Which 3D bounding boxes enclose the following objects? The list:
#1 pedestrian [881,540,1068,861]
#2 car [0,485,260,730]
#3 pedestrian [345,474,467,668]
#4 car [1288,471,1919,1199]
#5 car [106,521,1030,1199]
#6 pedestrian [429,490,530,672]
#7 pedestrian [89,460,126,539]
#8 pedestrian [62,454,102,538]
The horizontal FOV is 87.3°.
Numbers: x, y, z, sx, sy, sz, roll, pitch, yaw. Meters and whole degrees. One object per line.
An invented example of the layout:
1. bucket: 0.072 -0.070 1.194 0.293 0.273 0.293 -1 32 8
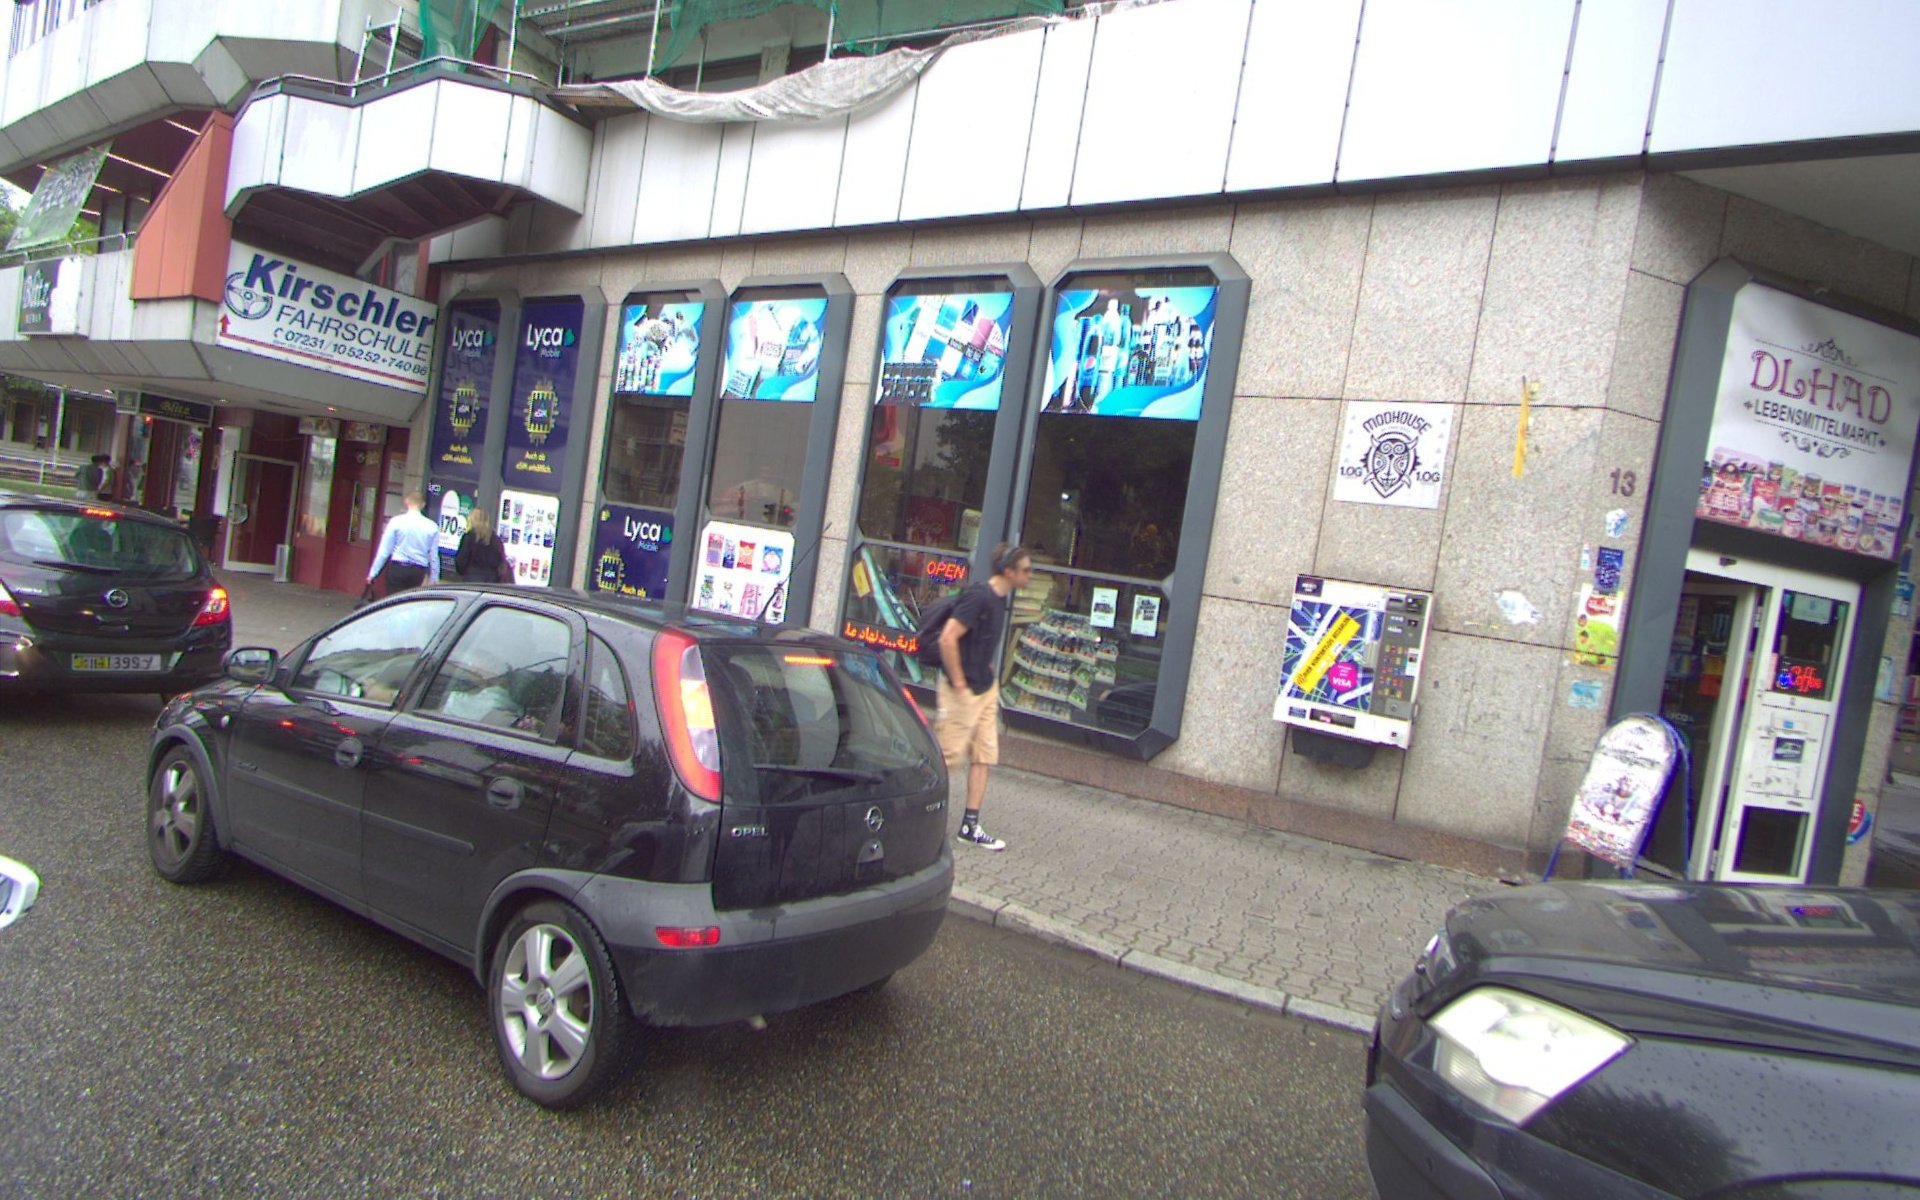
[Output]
1. pedestrian: 0.086 0.581 6.323 0.763 1.841 0.739 7 4 43
2. car: -7.094 -0.115 7.360 3.776 1.446 1.620 8 -1 29
3. pedestrian: -5.906 -0.299 10.737 0.629 1.957 0.737 6 -1 31
4. car: 2.803 0.973 1.426 4.095 1.786 1.763 8 -1 32
5. car: -1.736 0.646 4.104 3.563 1.446 1.609 8 -1 33
6. pedestrian: -5.433 -0.218 11.390 0.629 1.961 0.736 6 4 31
7. pedestrian: -18.641 -2.189 21.988 0.496 1.660 0.396 6 1 32
8. pedestrian: -18.675 -2.213 21.398 0.443 1.704 0.426 6 1 30
